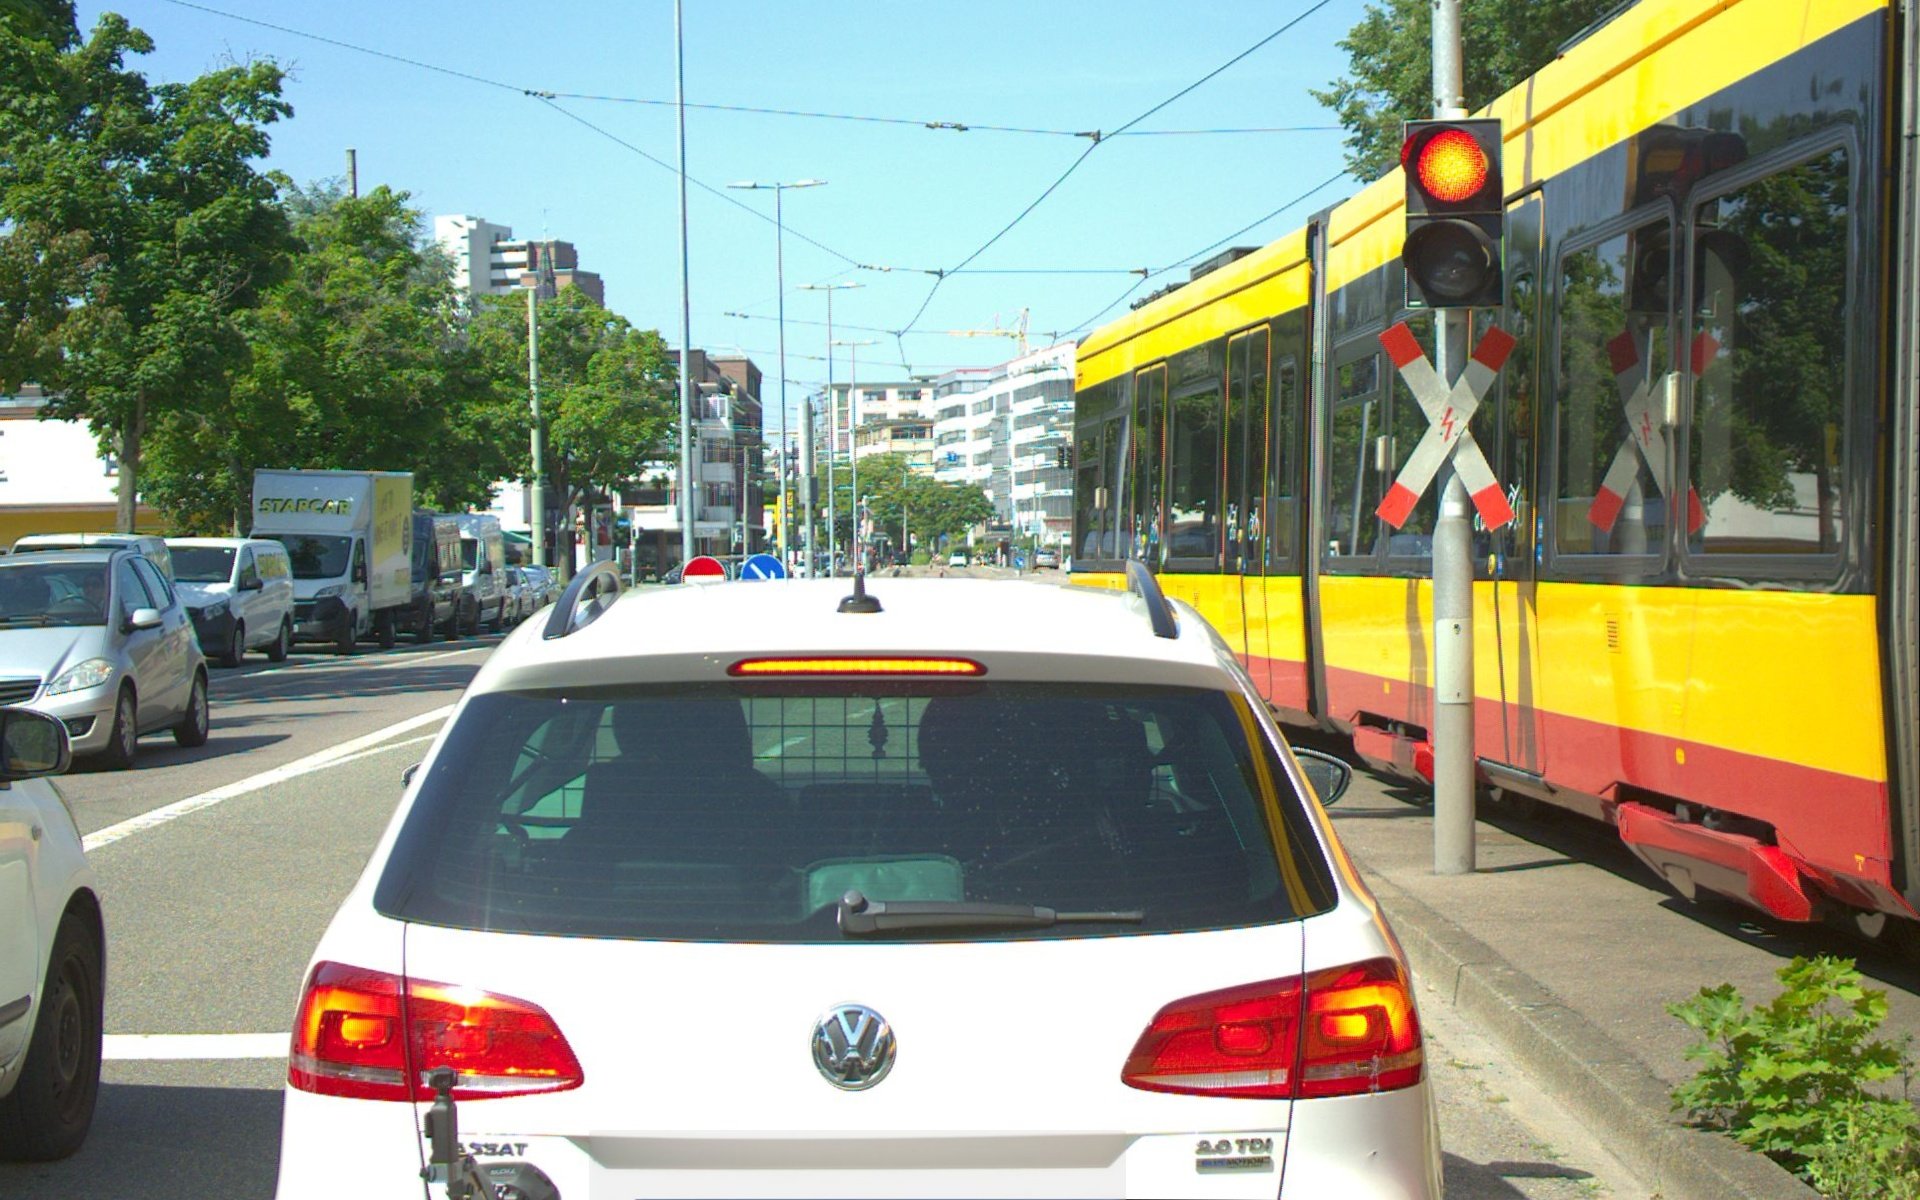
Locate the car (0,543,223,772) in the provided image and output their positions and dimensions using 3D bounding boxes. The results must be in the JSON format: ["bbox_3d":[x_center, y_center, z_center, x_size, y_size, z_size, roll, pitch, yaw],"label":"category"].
[{"bbox_3d":[-6.716,0.388,25.587,1.676,1.548,3.580,-3,1,-1],"label":"car"}]

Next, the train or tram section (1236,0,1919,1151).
[{"bbox_3d":[3.465,-0.661,14.999,2.870,3.842,12.393,-1,1,-3],"label":"train or tram section"}]

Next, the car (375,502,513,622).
[{"bbox_3d":[-11.309,-0.858,75.760,2.123,2.508,5.733,1,1,0],"label":"car"}]

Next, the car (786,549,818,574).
[{"bbox_3d":[-9.746,-2.362,212.132,1.705,1.468,4.589,-2,1,1],"label":"car"}]

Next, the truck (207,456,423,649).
[{"bbox_3d":[-11.205,-0.850,60.322,2.421,3.139,6.997,1,1,0],"label":"truck"}]

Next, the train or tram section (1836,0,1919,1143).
[{"bbox_3d":[3.791,-0.529,2.701,2.870,3.842,12.392,-1,1,-1],"label":"train or tram section"}]

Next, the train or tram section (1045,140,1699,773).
[{"bbox_3d":[2.681,-0.982,26.451,2.870,3.842,10.540,-1,1,-5],"label":"train or tram section"}]

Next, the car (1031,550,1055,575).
[{"bbox_3d":[6.239,-2.798,258.743,1.674,1.857,3.731,1,1,-1],"label":"car"}]

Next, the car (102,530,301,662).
[{"bbox_3d":[-11.371,-0.108,51.908,1.863,1.861,5.414,1,1,-1],"label":"car"}]

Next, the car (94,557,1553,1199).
[{"bbox_3d":[-0.178,0.669,6.203,1.762,1.425,4.000,-1,1,-1],"label":"car"}]

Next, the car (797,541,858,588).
[{"bbox_3d":[-4.327,-1.171,112.706,1.705,1.468,4.589,-2,1,1],"label":"car"}]

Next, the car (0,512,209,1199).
[{"bbox_3d":[-2.951,0.584,7.363,1.662,1.542,4.547,0,1,0],"label":"car"}]

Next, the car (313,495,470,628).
[{"bbox_3d":[-11.225,-0.787,68.323,2.123,2.508,5.733,1,1,0],"label":"car"}]

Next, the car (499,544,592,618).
[{"bbox_3d":[-11.020,-0.540,91.690,1.863,1.861,5.414,1,1,-1],"label":"car"}]

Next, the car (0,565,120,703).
[{"bbox_3d":[-10.911,0.341,38.787,1.863,1.411,4.280,1,1,-1],"label":"car"}]

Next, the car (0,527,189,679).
[{"bbox_3d":[-11.432,-0.015,45.321,1.863,1.861,5.075,1,1,-6],"label":"car"}]

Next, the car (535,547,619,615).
[{"bbox_3d":[-10.942,-0.574,98.607,1.863,1.861,5.414,1,1,-1],"label":"car"}]

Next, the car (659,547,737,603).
[{"bbox_3d":[-7.244,-0.716,95.307,1.705,1.468,4.589,-2,1,1],"label":"car"}]

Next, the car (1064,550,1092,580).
[{"bbox_3d":[7.397,-2.203,215.797,1.608,1.857,3.731,1,1,-1],"label":"car"}]
